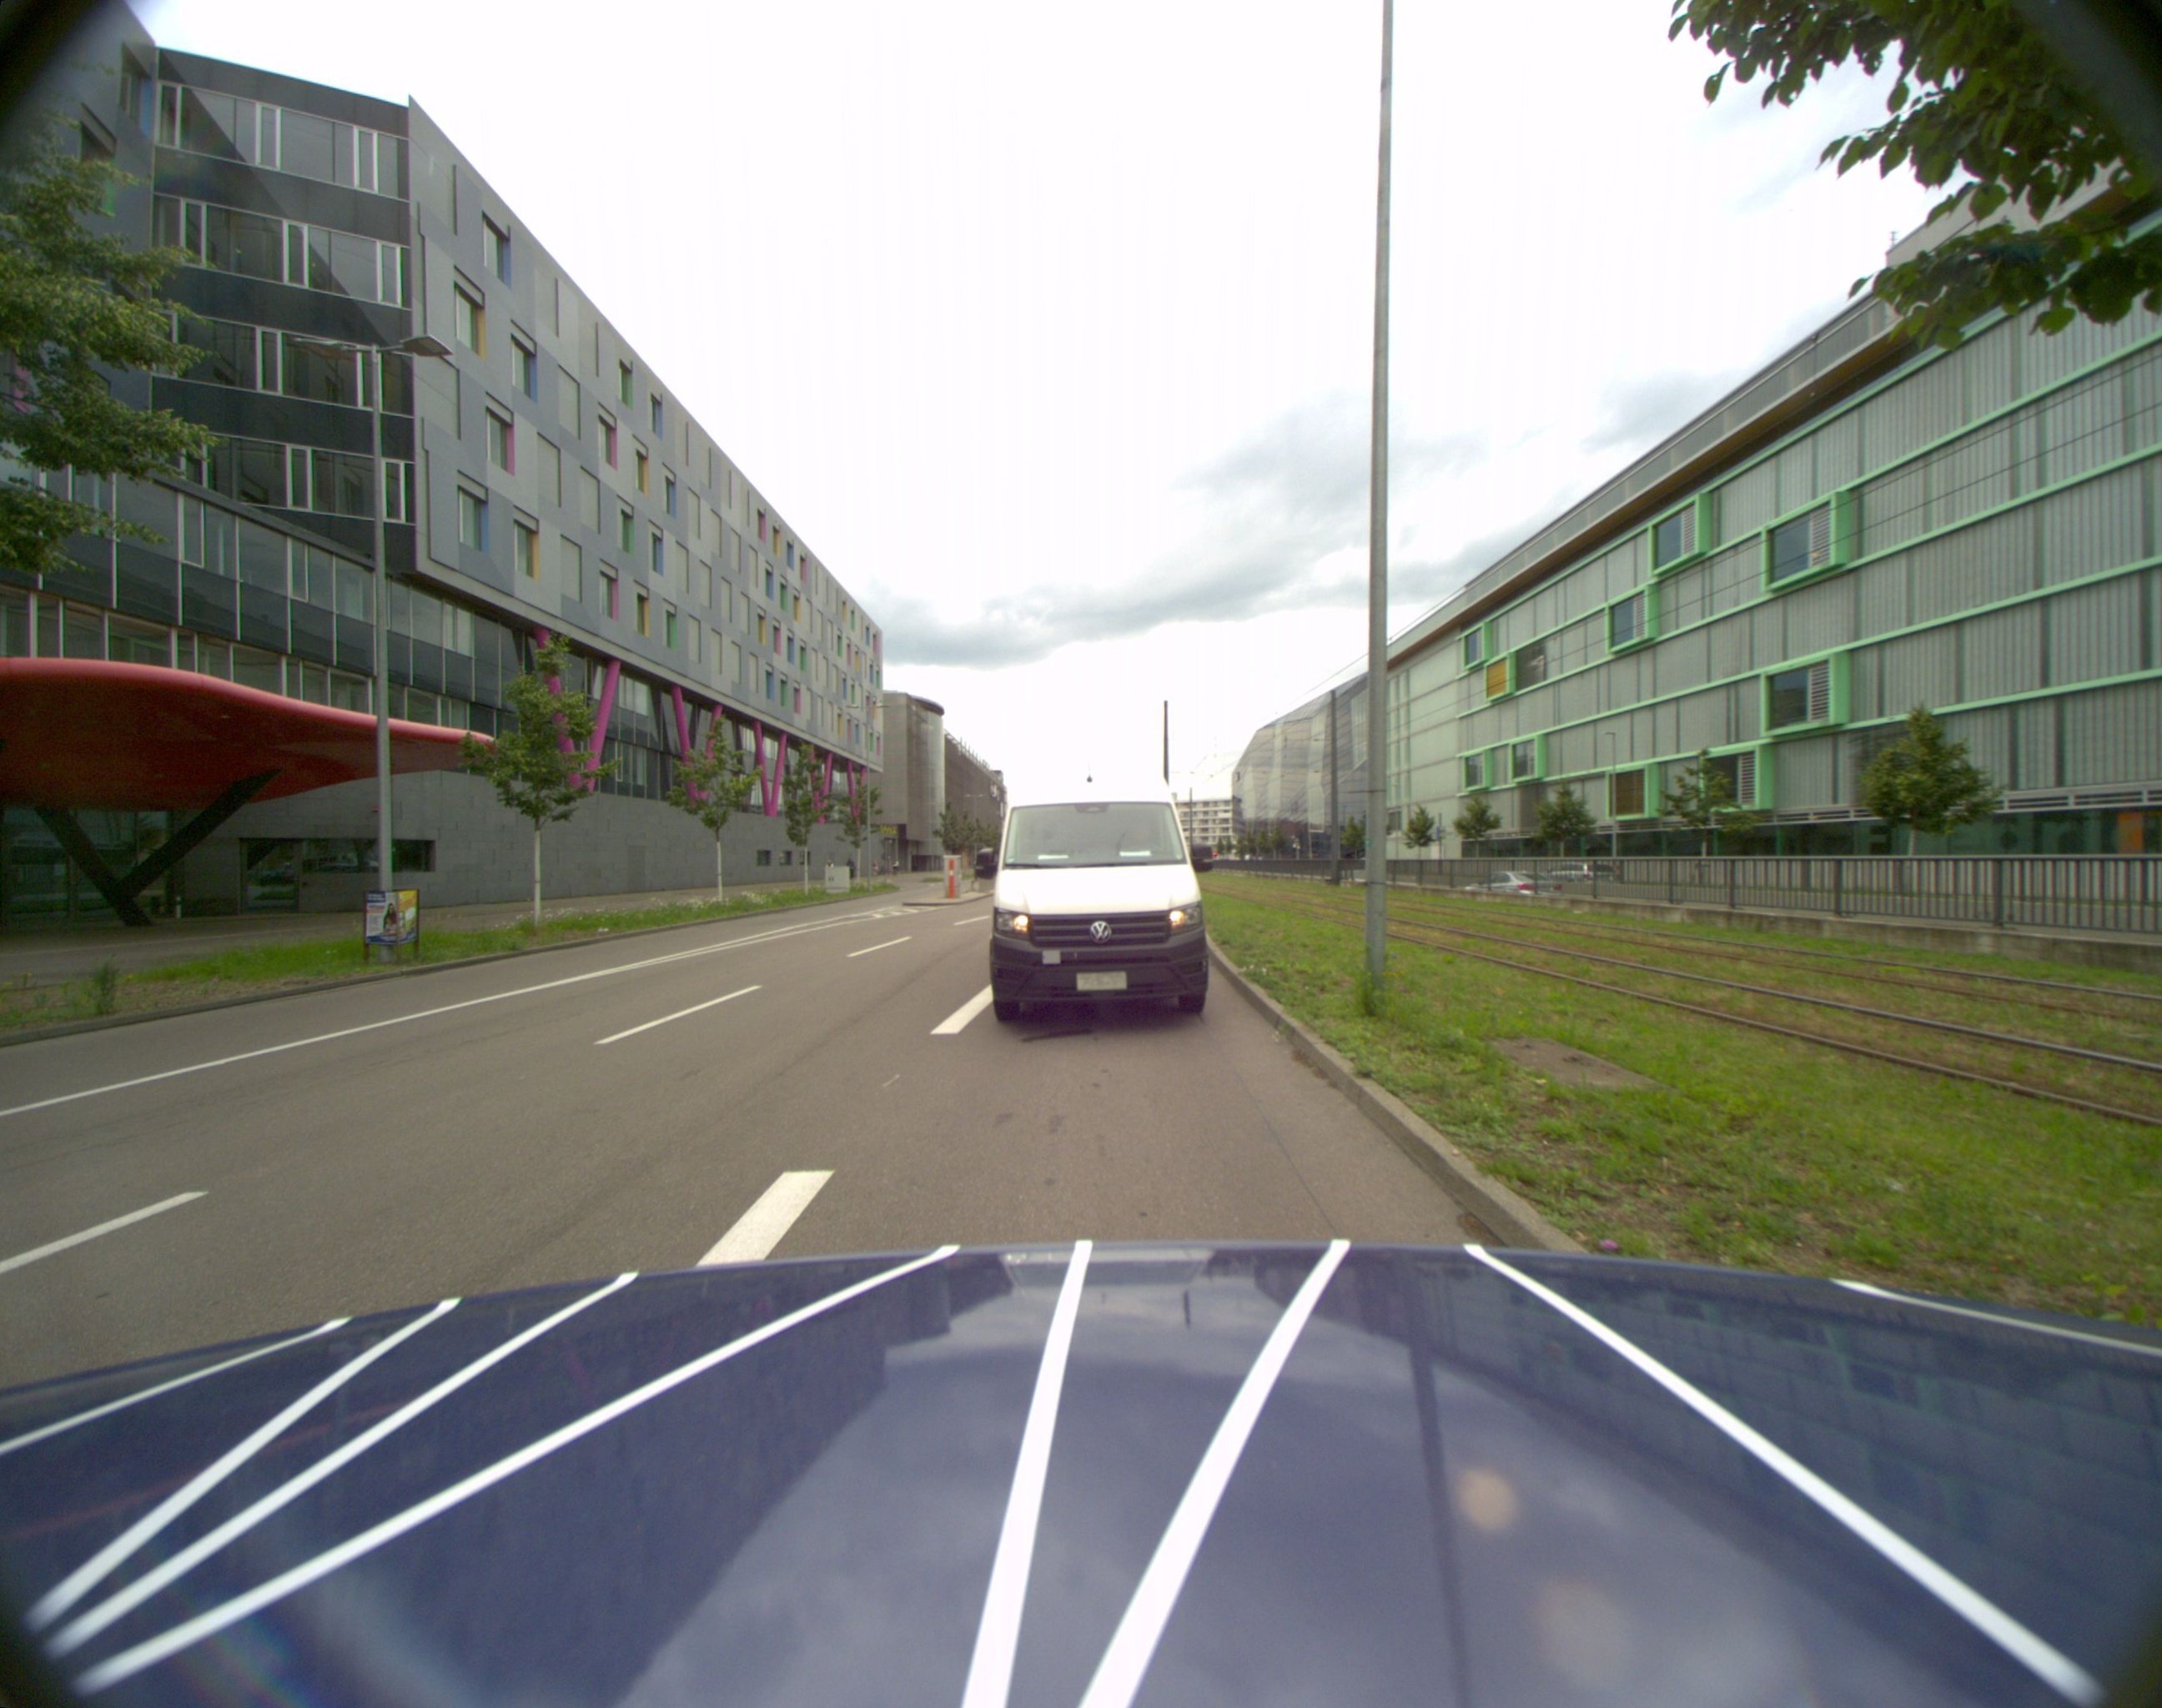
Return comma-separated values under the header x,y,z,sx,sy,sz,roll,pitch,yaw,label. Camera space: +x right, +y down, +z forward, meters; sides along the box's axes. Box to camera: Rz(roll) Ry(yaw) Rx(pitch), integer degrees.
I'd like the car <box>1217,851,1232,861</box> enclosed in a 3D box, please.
x,y,z,sx,sy,sz,roll,pitch,yaw,label
26.934,0.391,142.711,1.998,1.583,4.769,-1,-2,3,car

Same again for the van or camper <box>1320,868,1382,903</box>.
x,y,z,sx,sy,sz,roll,pitch,yaw,label
16.573,1.883,46.920,1.894,1.889,5.124,0,0,-1,van or camper

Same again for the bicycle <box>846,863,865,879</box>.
x,y,z,sx,sy,sz,roll,pitch,yaw,label
-18.214,1.380,61.381,0.801,1.150,2.346,-2,-4,0,bicycle

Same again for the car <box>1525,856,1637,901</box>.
x,y,z,sx,sy,sz,roll,pitch,yaw,label
24.151,1.109,36.993,1.998,2.002,5.295,-1,0,1,car

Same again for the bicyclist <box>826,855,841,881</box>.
x,y,z,sx,sy,sz,roll,pitch,yaw,label
-17.440,0.962,53.541,0.784,1.792,0.705,-1,0,0,bicyclist

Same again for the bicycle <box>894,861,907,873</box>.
x,y,z,sx,sy,sz,roll,pitch,yaw,label
-18.714,1.346,78.768,0.785,1.187,2.221,0,0,-1,bicycle

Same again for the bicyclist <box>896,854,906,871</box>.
x,y,z,sx,sy,sz,roll,pitch,yaw,label
-18.692,0.919,78.961,0.772,1.776,0.974,0,0,0,bicyclist

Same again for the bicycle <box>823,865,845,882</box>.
x,y,z,sx,sy,sz,roll,pitch,yaw,label
-17.426,1.387,53.700,0.801,1.151,2.345,-2,-1,0,bicycle

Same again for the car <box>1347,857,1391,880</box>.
x,y,z,sx,sy,sz,roll,pitch,yaw,label
24.426,1.182,64.641,1.998,1.813,4.968,-1,0,1,car

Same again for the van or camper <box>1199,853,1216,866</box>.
x,y,z,sx,sy,sz,roll,pitch,yaw,label
24.067,1.027,144.952,2.178,2.273,6.507,-2,0,1,van or camper

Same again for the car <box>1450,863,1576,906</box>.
x,y,z,sx,sy,sz,roll,pitch,yaw,label
16.198,1.076,28.835,1.733,1.437,4.921,1,-1,-4,car

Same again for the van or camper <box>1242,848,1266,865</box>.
x,y,z,sx,sy,sz,roll,pitch,yaw,label
24.050,0.358,105.986,2.178,2.273,5.358,-1,0,1,van or camper

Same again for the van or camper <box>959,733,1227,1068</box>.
x,y,z,sx,sy,sz,roll,pitch,yaw,label
0.095,0.367,8.431,2.043,2.572,5.041,-1,0,0,van or camper

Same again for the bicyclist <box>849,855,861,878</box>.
x,y,z,sx,sy,sz,roll,pitch,yaw,label
-18.226,1.012,61.224,0.784,1.790,0.705,-1,-4,0,bicyclist
